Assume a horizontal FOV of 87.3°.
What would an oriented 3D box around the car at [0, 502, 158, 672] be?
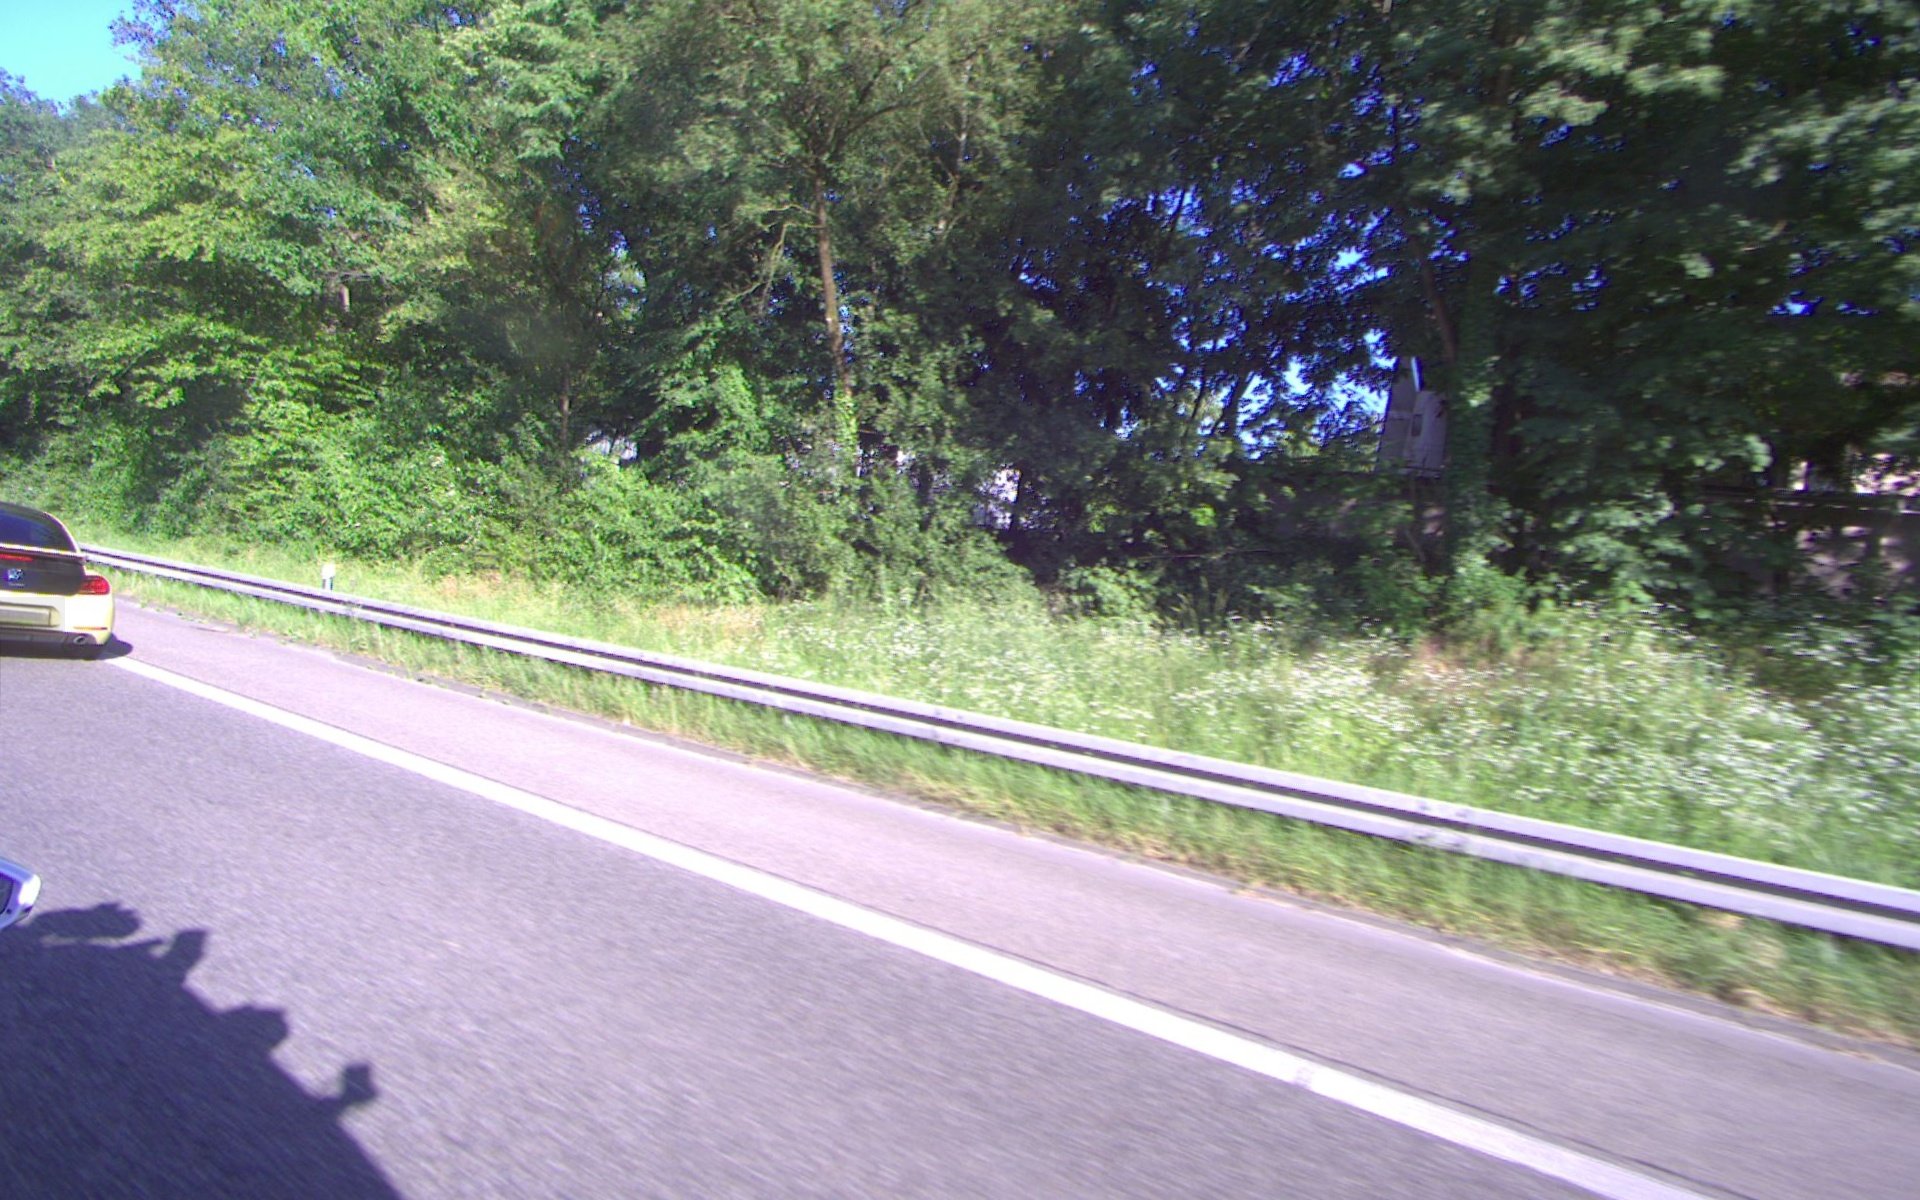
[{"bbox_3d":[-10.382,-0.319,10.373,4.284,1.479,1.883,7,-1,32],"label":"car"}]
